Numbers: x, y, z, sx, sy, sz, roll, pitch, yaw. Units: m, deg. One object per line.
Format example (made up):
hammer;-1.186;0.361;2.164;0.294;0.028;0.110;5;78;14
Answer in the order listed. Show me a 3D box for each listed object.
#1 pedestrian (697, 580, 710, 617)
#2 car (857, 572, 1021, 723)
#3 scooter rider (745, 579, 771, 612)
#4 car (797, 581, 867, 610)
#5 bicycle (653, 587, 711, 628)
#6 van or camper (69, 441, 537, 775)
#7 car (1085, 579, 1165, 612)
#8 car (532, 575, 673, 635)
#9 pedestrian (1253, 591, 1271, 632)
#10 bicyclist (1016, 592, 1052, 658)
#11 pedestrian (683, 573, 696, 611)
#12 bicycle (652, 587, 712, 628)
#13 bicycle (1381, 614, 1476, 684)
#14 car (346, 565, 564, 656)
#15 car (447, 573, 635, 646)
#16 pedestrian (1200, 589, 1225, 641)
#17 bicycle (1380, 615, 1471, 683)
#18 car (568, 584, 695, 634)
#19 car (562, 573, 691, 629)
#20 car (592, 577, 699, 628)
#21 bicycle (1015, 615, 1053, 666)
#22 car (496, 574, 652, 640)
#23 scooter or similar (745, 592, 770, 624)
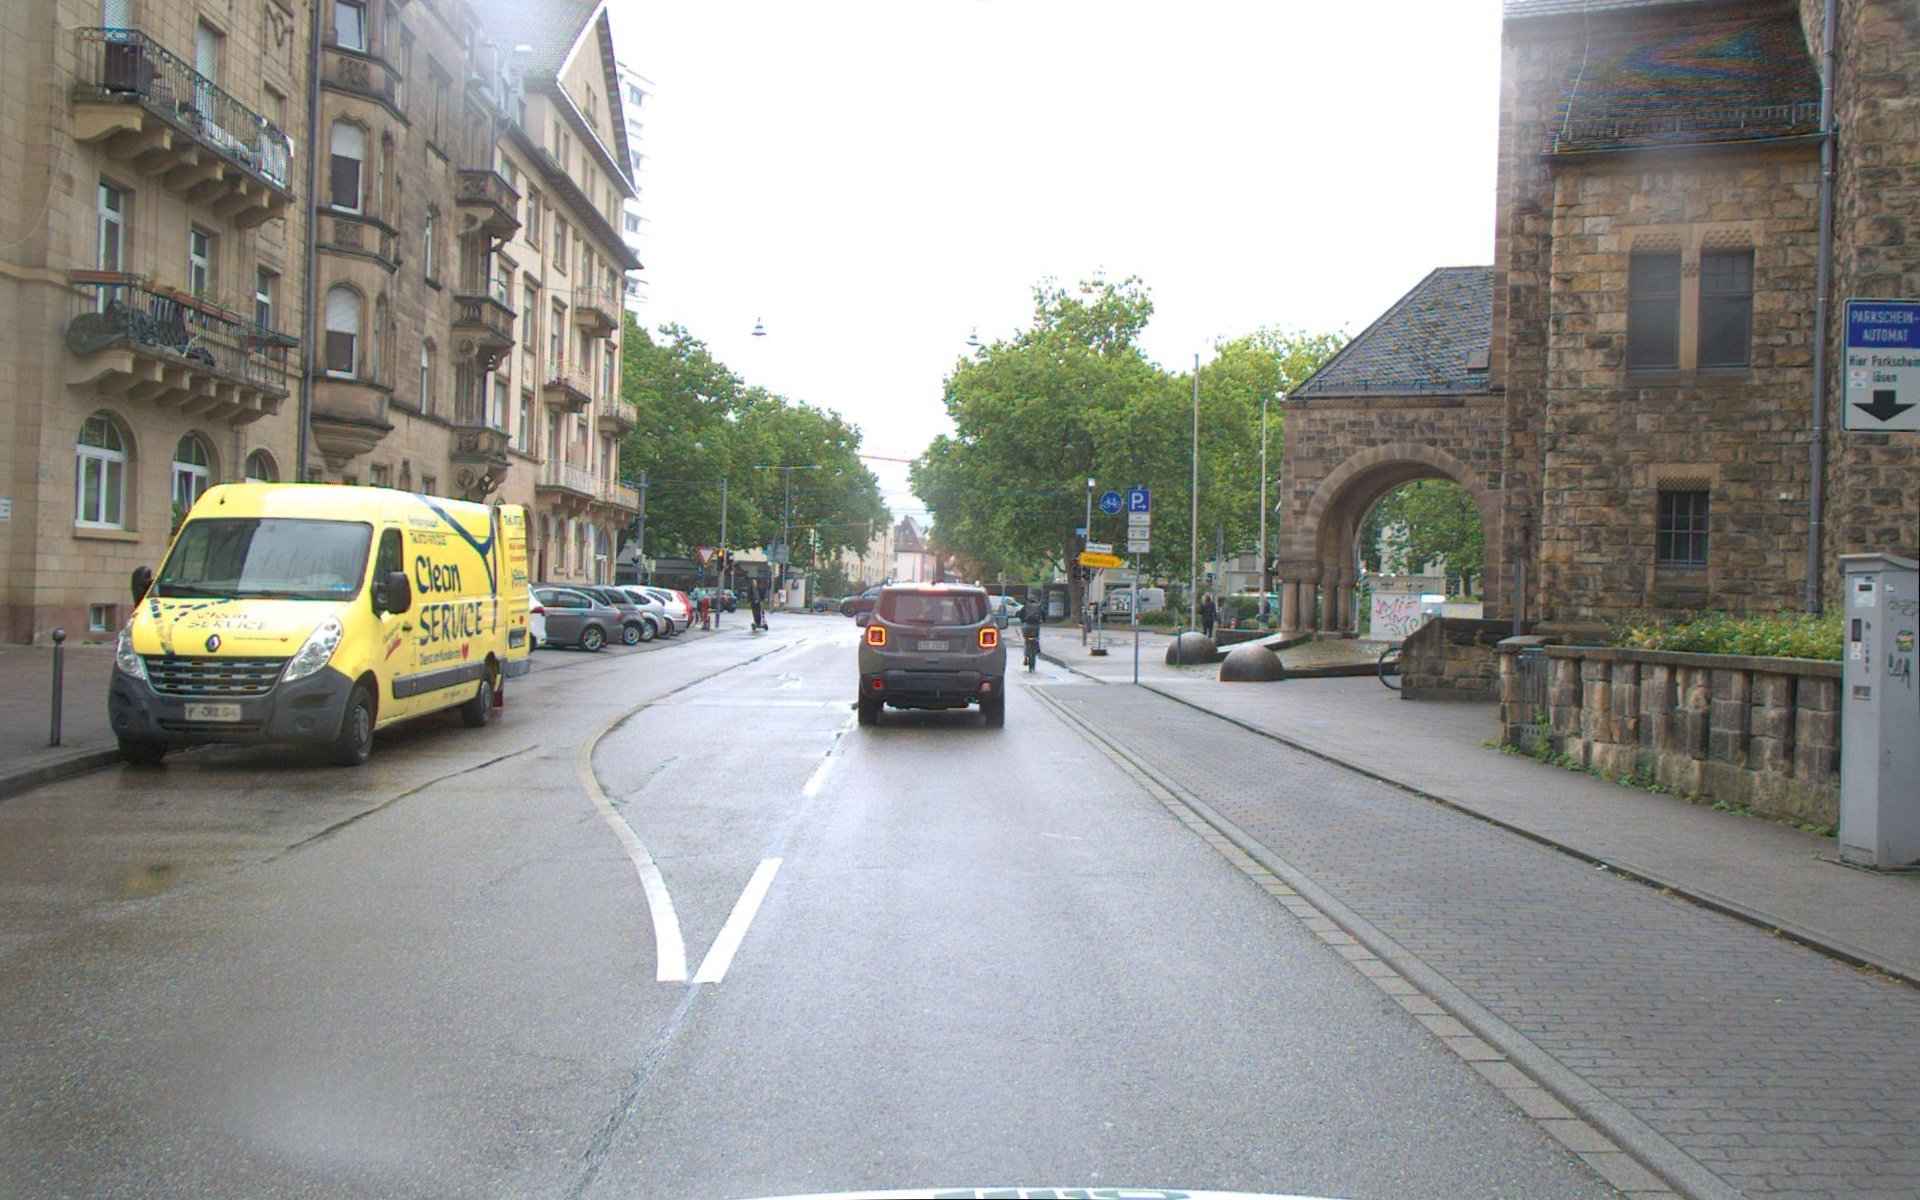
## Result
pedestrian;-11.049;-0.068;71.273;0.458;1.613;0.752;1;0;-3
car;-0.337;0.544;21.195;1.861;1.700;4.503;1;0;-3
scooter rider;-7.928;-0.176;64.892;0.862;1.241;0.983;1;-2;-1
car;-7.470;-0.253;96.625;3.798;1.639;1.542;1;0;19
bicycle;-10.256;0.285;61.076;2.063;1.469;0.487;1;0;-22
van or camper;-6.098;0.157;16.573;2.079;2.575;6.871;-2;-2;-2
car;12.217;-0.330;123.005;5.781;2.375;2.060;1;0;2
car;-10.270;0.143;47.548;3.467;1.544;1.862;3;-1;-35
pedestrian;12.868;0.488;70.549;0.667;1.741;0.693;1;0;17
bicyclist;1.616;0.535;36.189;0.690;1.428;1.171;1;0;-1
pedestrian;-11.639;-0.359;71.126;0.458;1.613;0.659;1;0;-3
bicycle;-10.091;0.259;60.089;2.080;1.469;0.536;1;0;-22
bicycle;7.845;0.812;27.699;1.491;1.121;0.363;1;0;19
car;-9.807;0.212;32.210;3.627;1.586;1.775;3;-1;-38
car;-9.763;0.245;38.693;3.822;1.505;1.856;3;-1;-43
pedestrian;8.401;0.495;55.060;0.677;1.741;0.684;1;0;-2
bicycle;7.914;0.826;28.110;1.456;1.121;0.363;1;0;19
car;-10.045;0.276;50.669;3.384;1.339;1.758;3;-1;-35
car;-10.736;0.034;53.270;3.698;1.586;1.651;3;-1;-35
car;-10.749;0.088;56.574;3.218;1.586;1.516;3;-1;-35
bicycle;1.609;0.871;36.187;0.690;1.072;1.812;1;0;-1
car;-10.336;0.197;44.347;3.628;1.586;1.784;3;-1;-38
scooter or similar;-7.944;0.310;64.877;0.833;1.233;0.986;1;-2;-1
